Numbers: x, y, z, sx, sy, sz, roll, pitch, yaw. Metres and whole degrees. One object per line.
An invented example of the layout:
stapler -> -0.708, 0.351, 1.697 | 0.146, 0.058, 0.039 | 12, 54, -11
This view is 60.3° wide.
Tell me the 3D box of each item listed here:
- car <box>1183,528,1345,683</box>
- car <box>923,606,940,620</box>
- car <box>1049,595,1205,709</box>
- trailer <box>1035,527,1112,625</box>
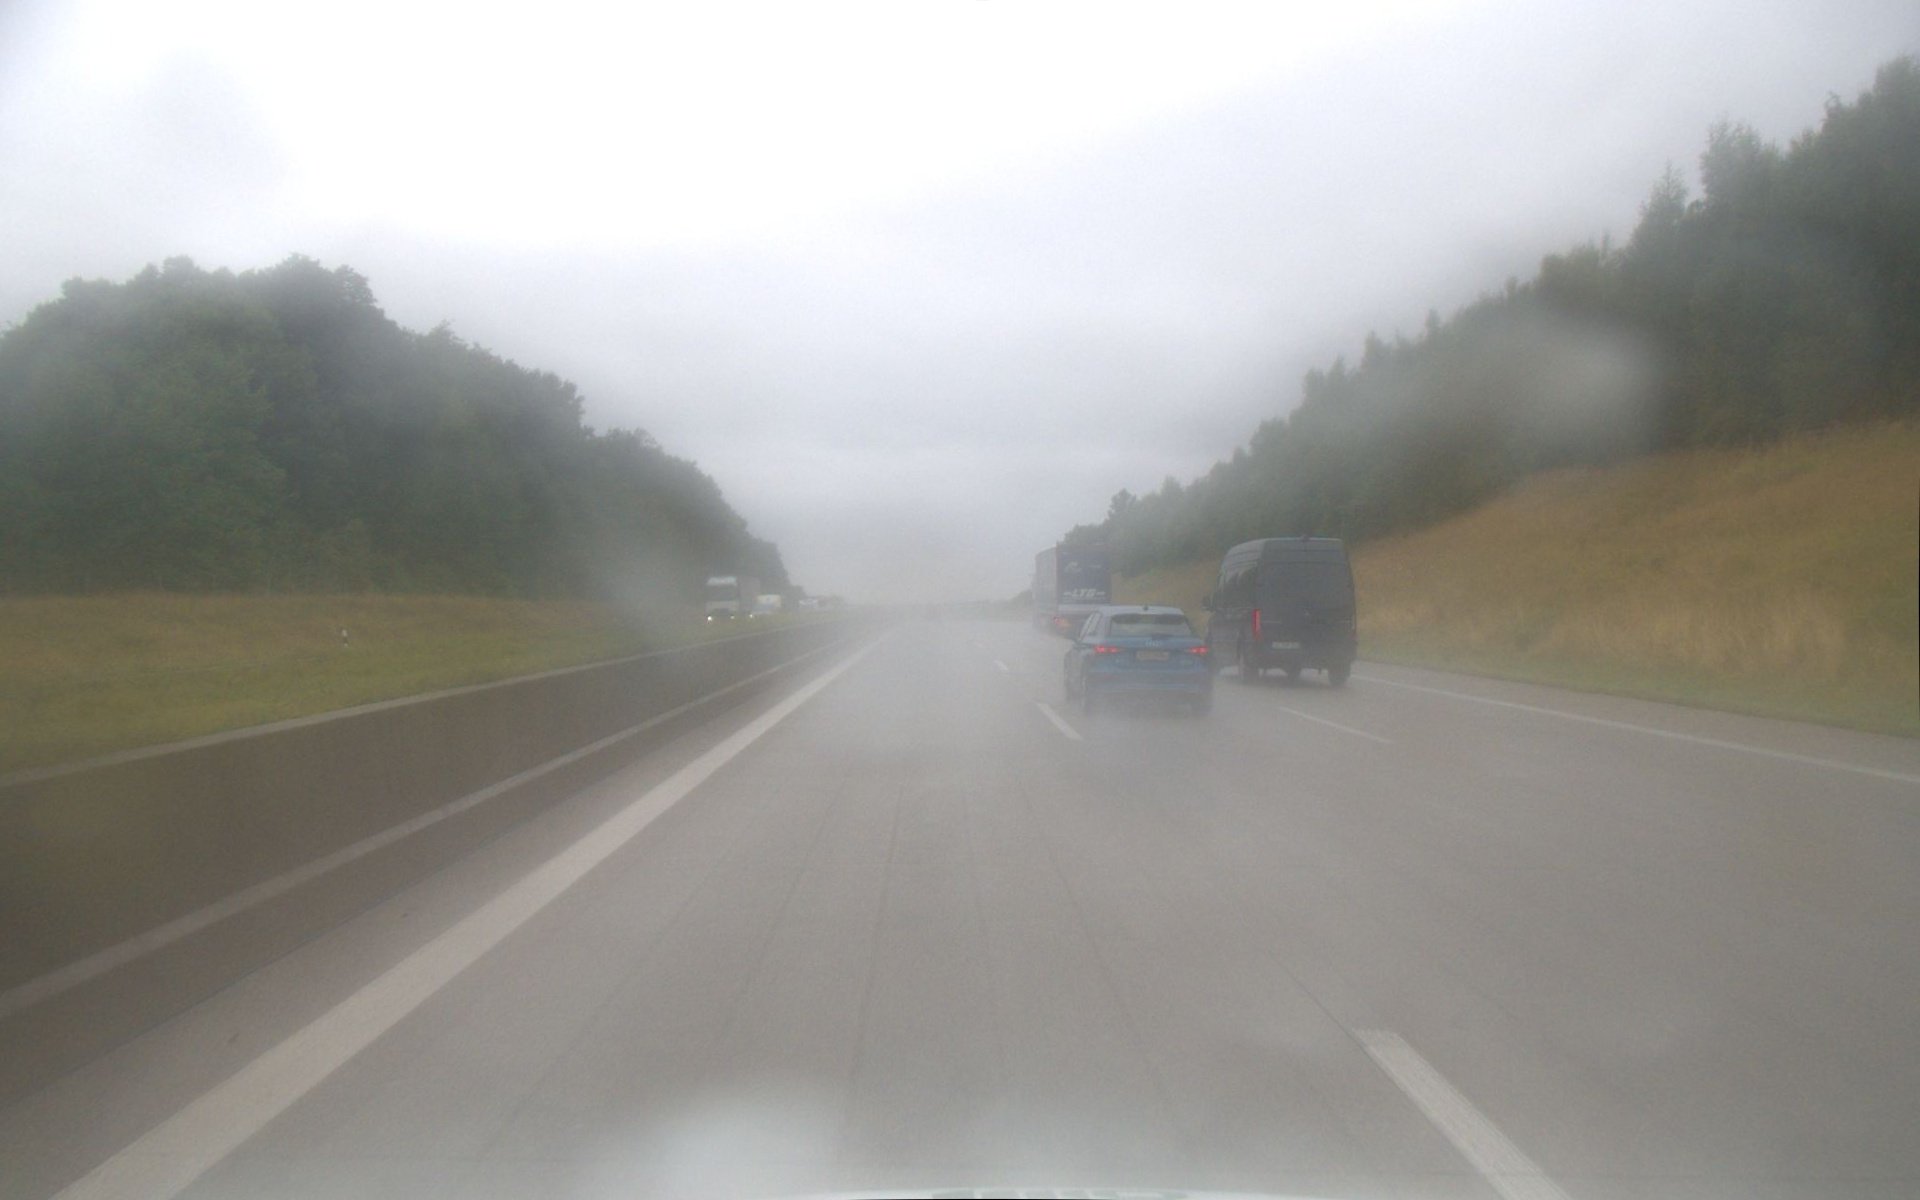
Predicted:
car -> 5.831, 0.100, 32.606 | 1.901, 2.705, 6.585 | 1, 0, -1
car -> -2.791, 1.285, 161.240 | 1.694, 1.354, 4.428 | 0, 0, -2
car -> 2.341, 0.750, 24.278 | 1.694, 1.484, 4.670 | -1, -2, -2
trailer -> 5.547, -0.994, 83.317 | 2.651, 4.456, 15.201 | 1, -1, -1
